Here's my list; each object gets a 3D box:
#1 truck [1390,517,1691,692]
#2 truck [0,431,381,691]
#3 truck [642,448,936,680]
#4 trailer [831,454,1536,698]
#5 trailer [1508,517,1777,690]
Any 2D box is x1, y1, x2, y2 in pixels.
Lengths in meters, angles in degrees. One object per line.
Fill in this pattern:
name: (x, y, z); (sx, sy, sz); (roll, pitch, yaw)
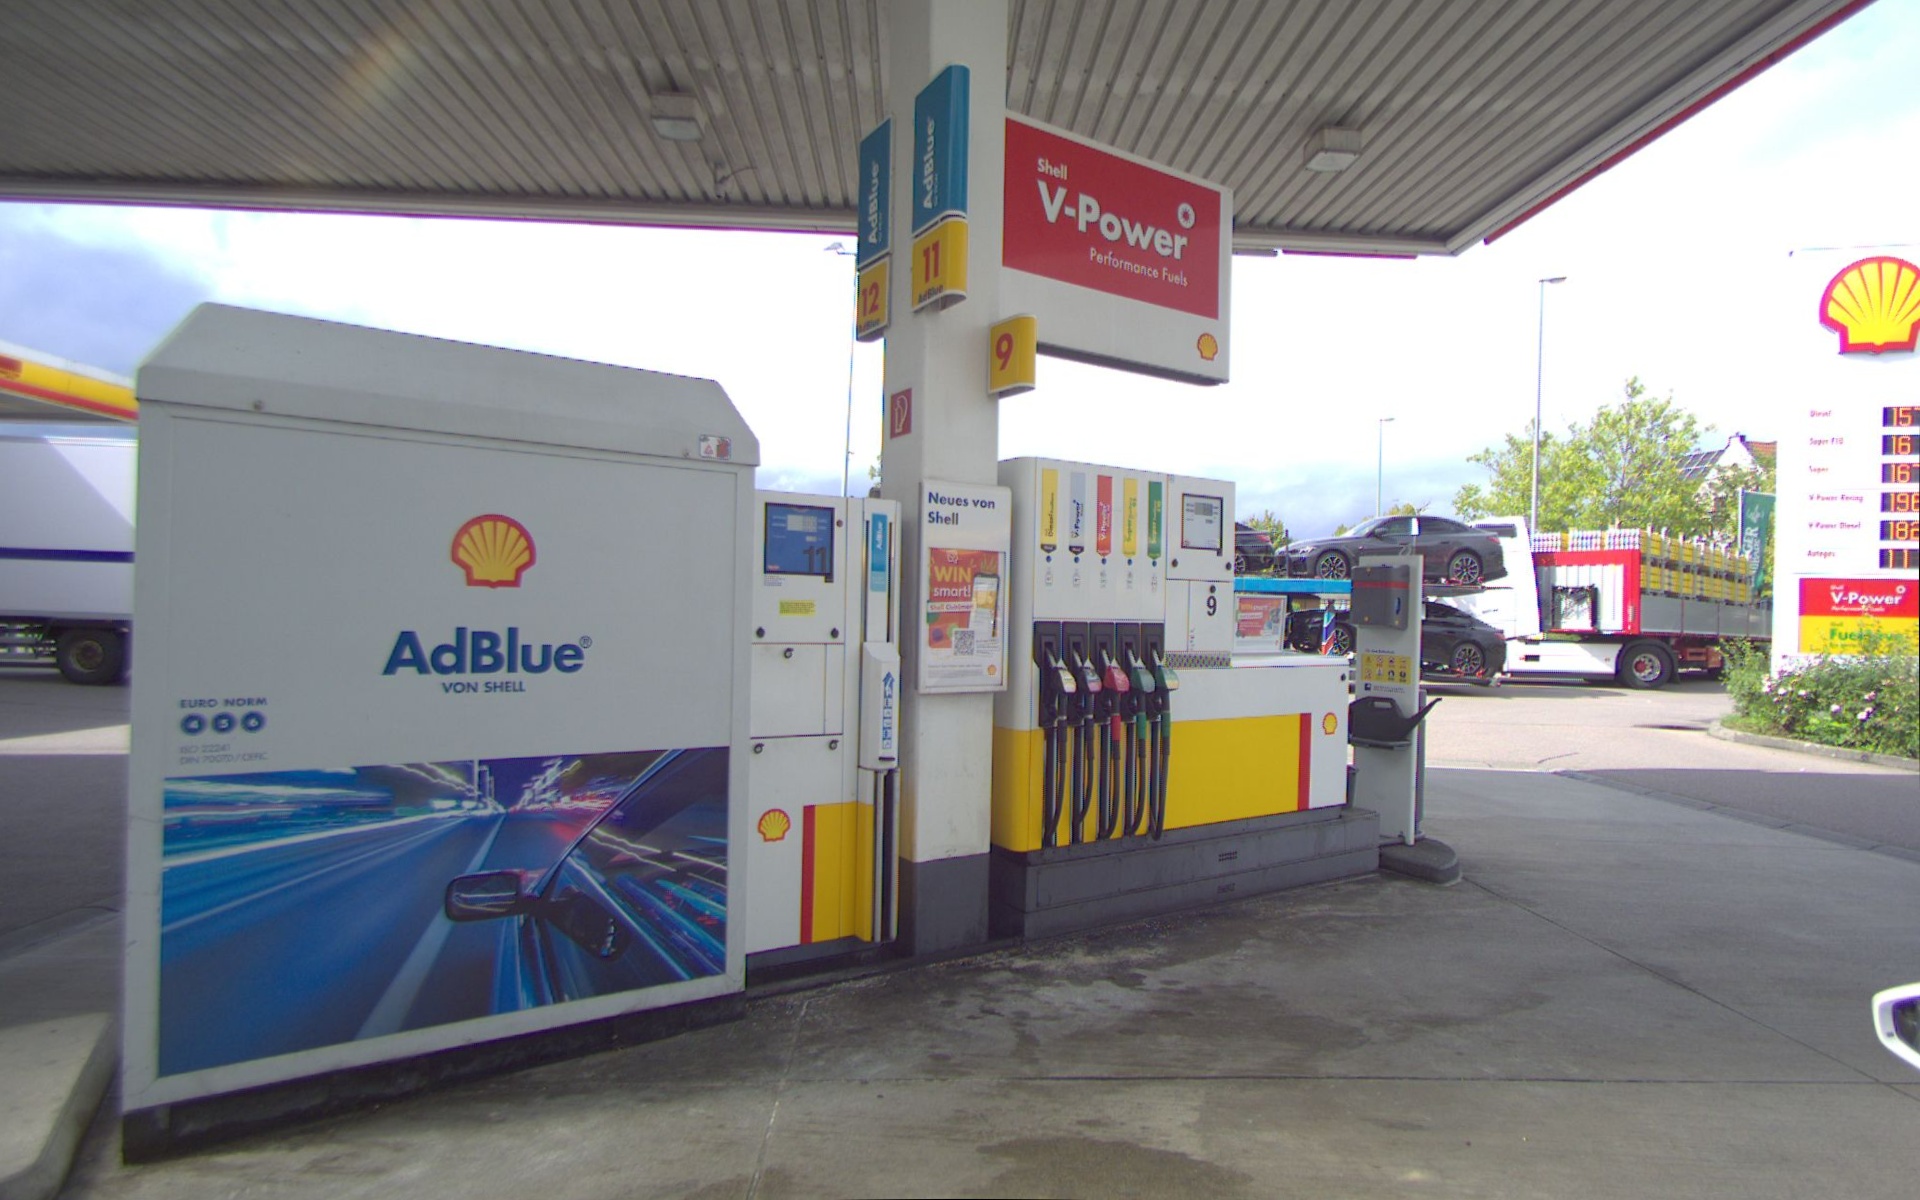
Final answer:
truck: (13.955, 0.055, 24.683); (5.799, 3.897, 2.743); (2, 0, 15)
truck: (-17.310, -0.742, 17.495); (12.654, 4.092, 2.534); (2, 0, -3)
truck: (-3.458, -0.707, 21.539); (5.713, 4.479, 2.750); (2, 0, 0)
trailer: (4.518, -0.471, 21.577); (14.077, 4.481, 2.746); (2, 0, 0)
trailer: (18.922, 0.220, 27.264); (12.610, 3.826, 2.707); (2, 0, -40)
